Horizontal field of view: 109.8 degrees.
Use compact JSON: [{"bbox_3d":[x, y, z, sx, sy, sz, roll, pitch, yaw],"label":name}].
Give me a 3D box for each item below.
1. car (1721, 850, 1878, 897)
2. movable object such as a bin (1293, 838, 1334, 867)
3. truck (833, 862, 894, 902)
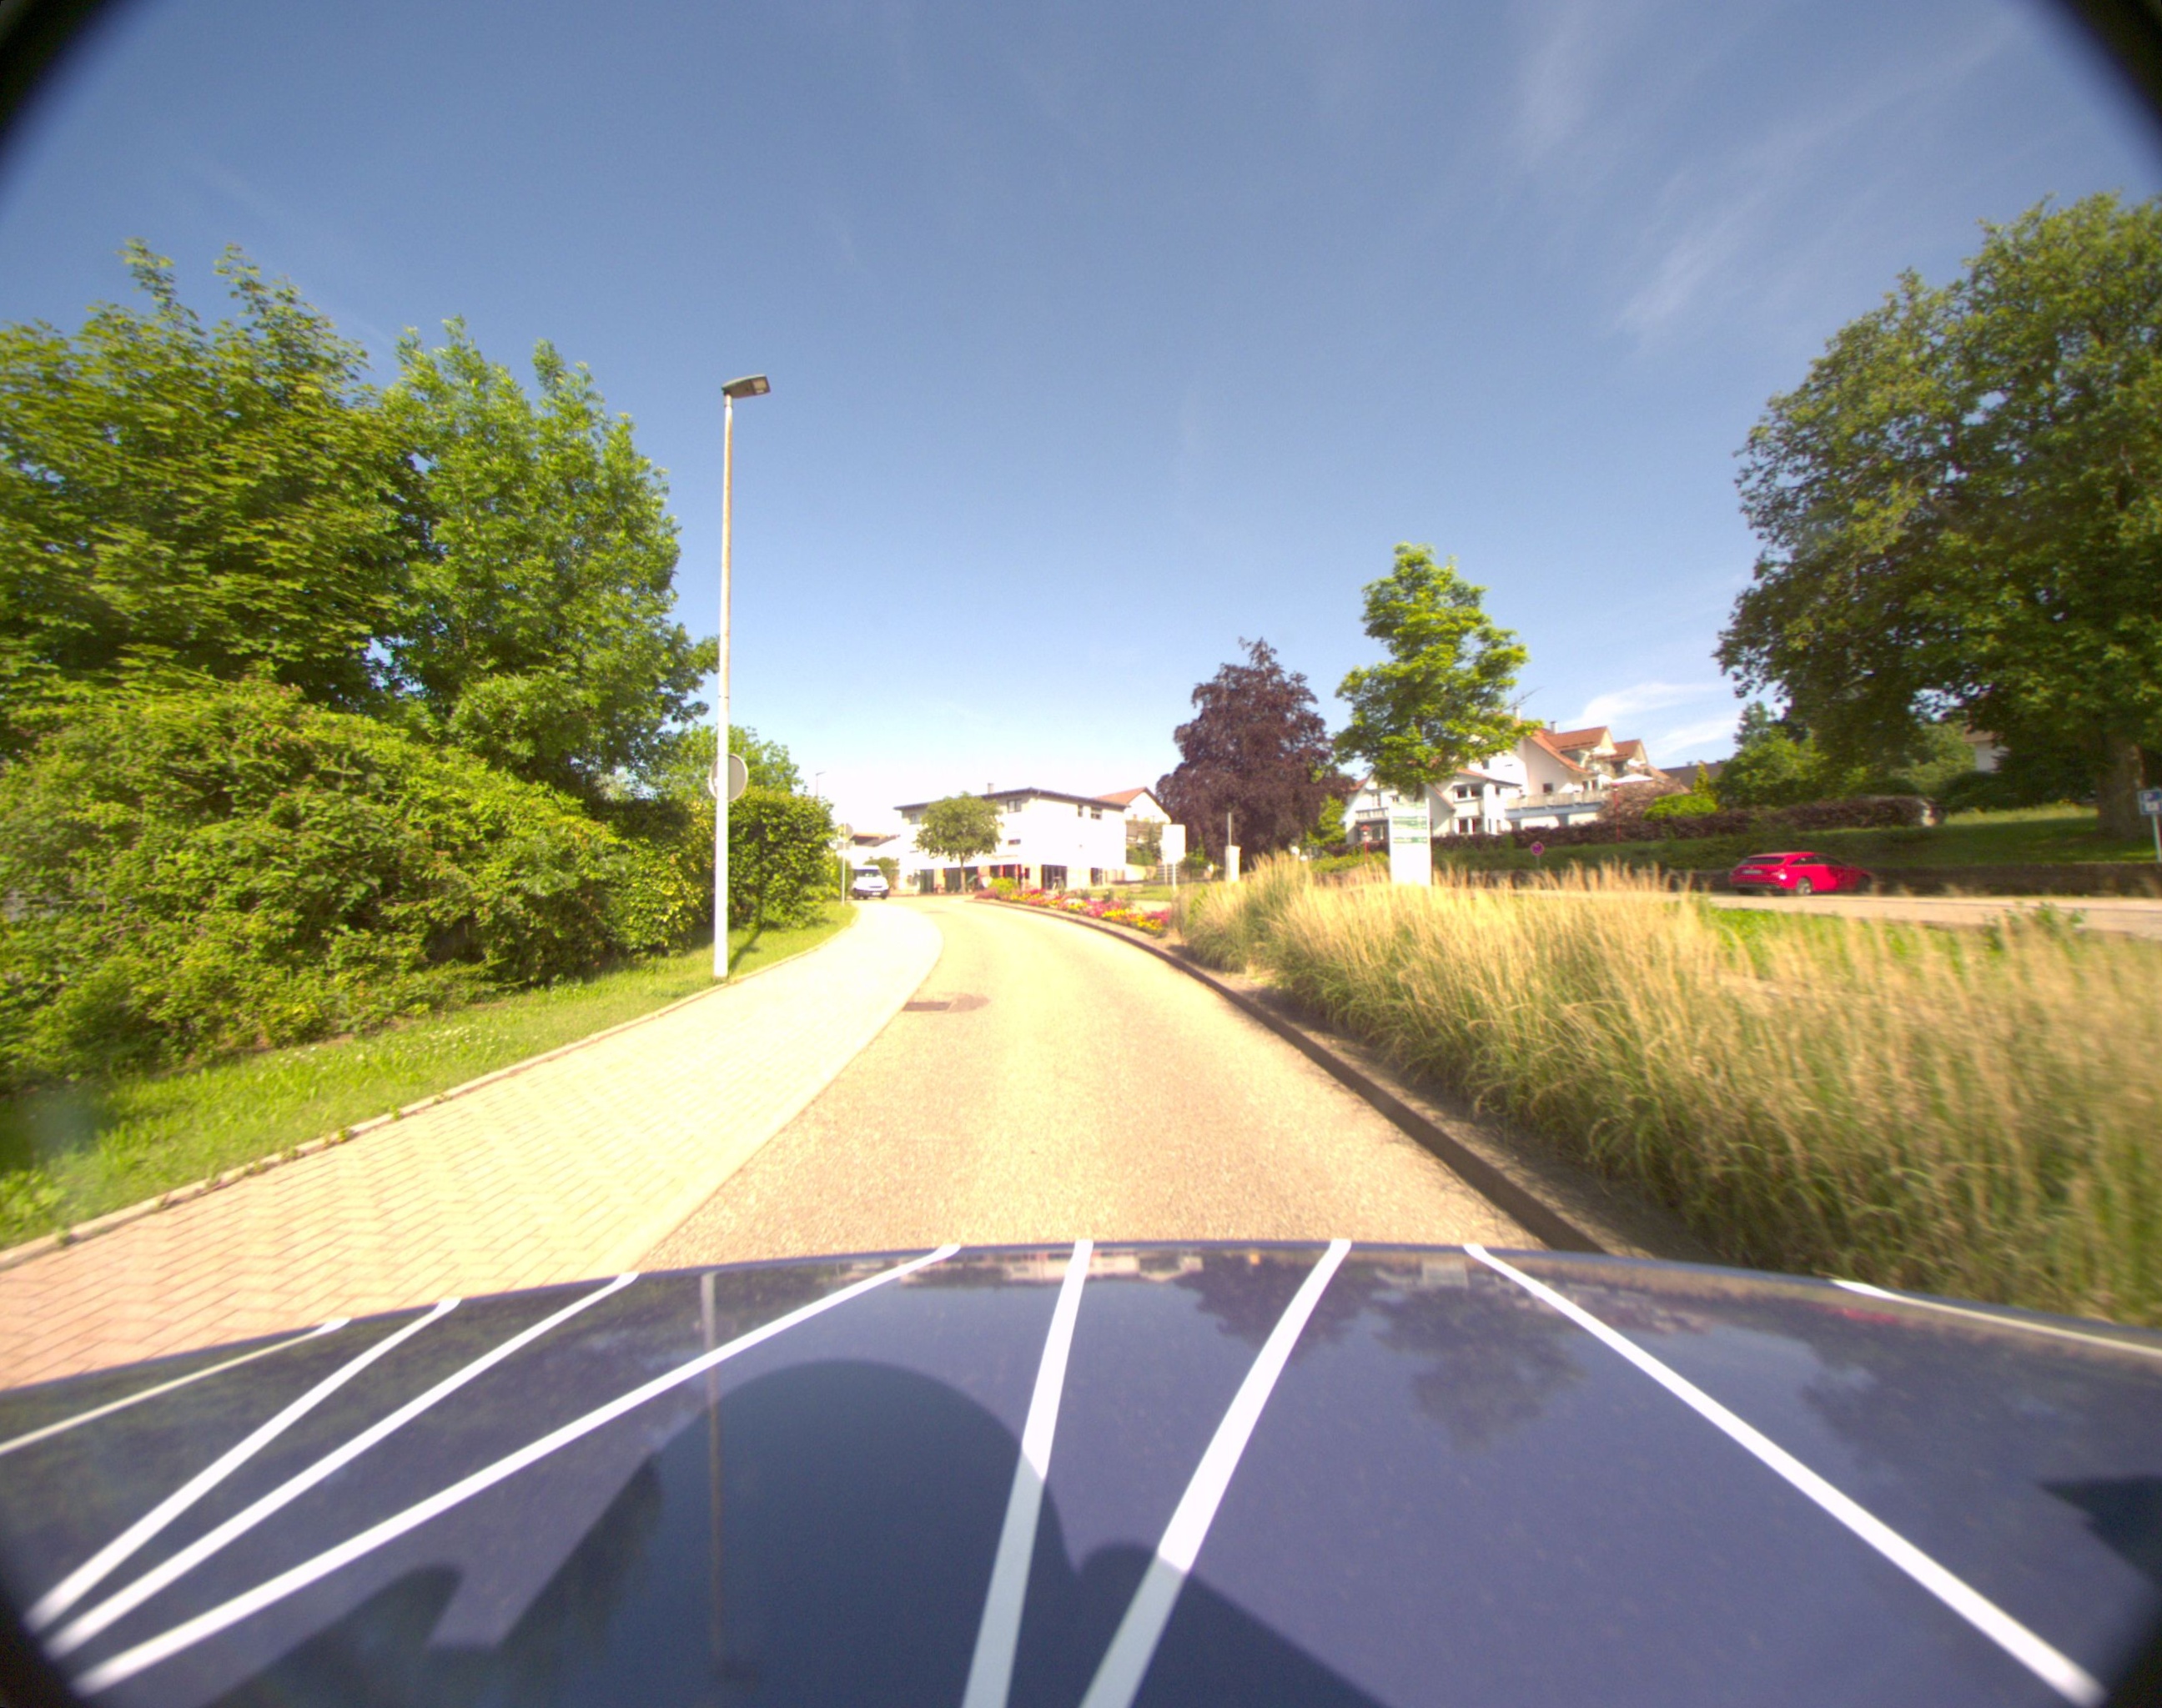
[{"bbox_3d":[23.850,0.634,25.263,4.240,1.390,1.822,-1,-1,-15],"label":"car"},{"bbox_3d":[23.337,-0.182,76.159,1.995,2.752,5.116,-3,-1,40],"label":"movable object such as a bin"},{"bbox_3d":[-14.598,1.920,50.688,2.003,2.327,6.482,-4,-2,-33],"label":"truck"}]
